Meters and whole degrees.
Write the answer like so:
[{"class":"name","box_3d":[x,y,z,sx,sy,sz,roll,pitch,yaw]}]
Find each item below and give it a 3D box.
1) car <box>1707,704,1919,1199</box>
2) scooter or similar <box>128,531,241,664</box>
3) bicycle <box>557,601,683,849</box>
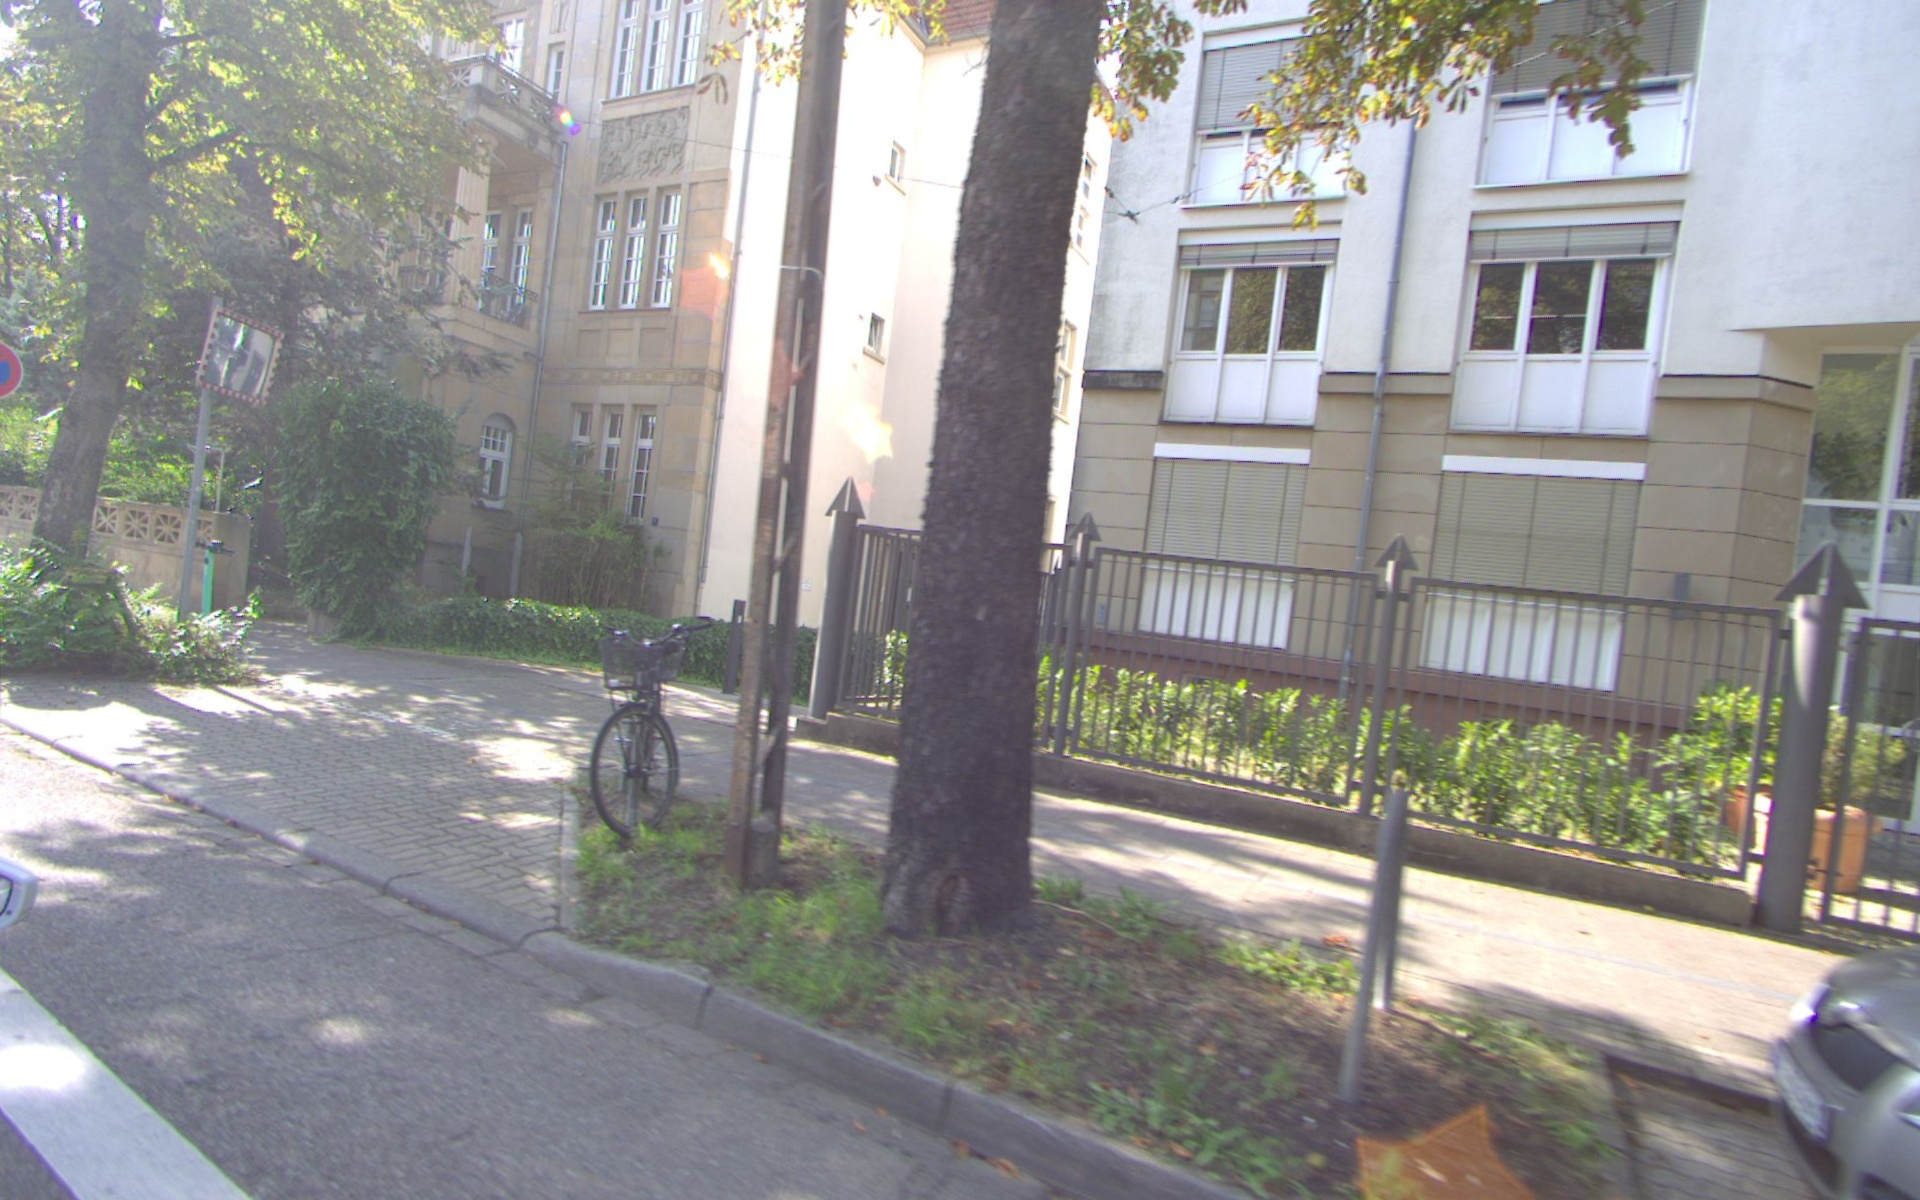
[{"class":"car","box_3d":[4.368,1.367,1.984,4.281,1.545,1.608,7,3,27]},{"class":"scooter or similar","box_3d":[-7.810,-0.036,10.129,1.017,1.214,0.557,7,4,33]},{"class":"bicycle","box_3d":[-1.992,0.647,6.061,0.496,1.182,1.836,1,3,-12]}]
